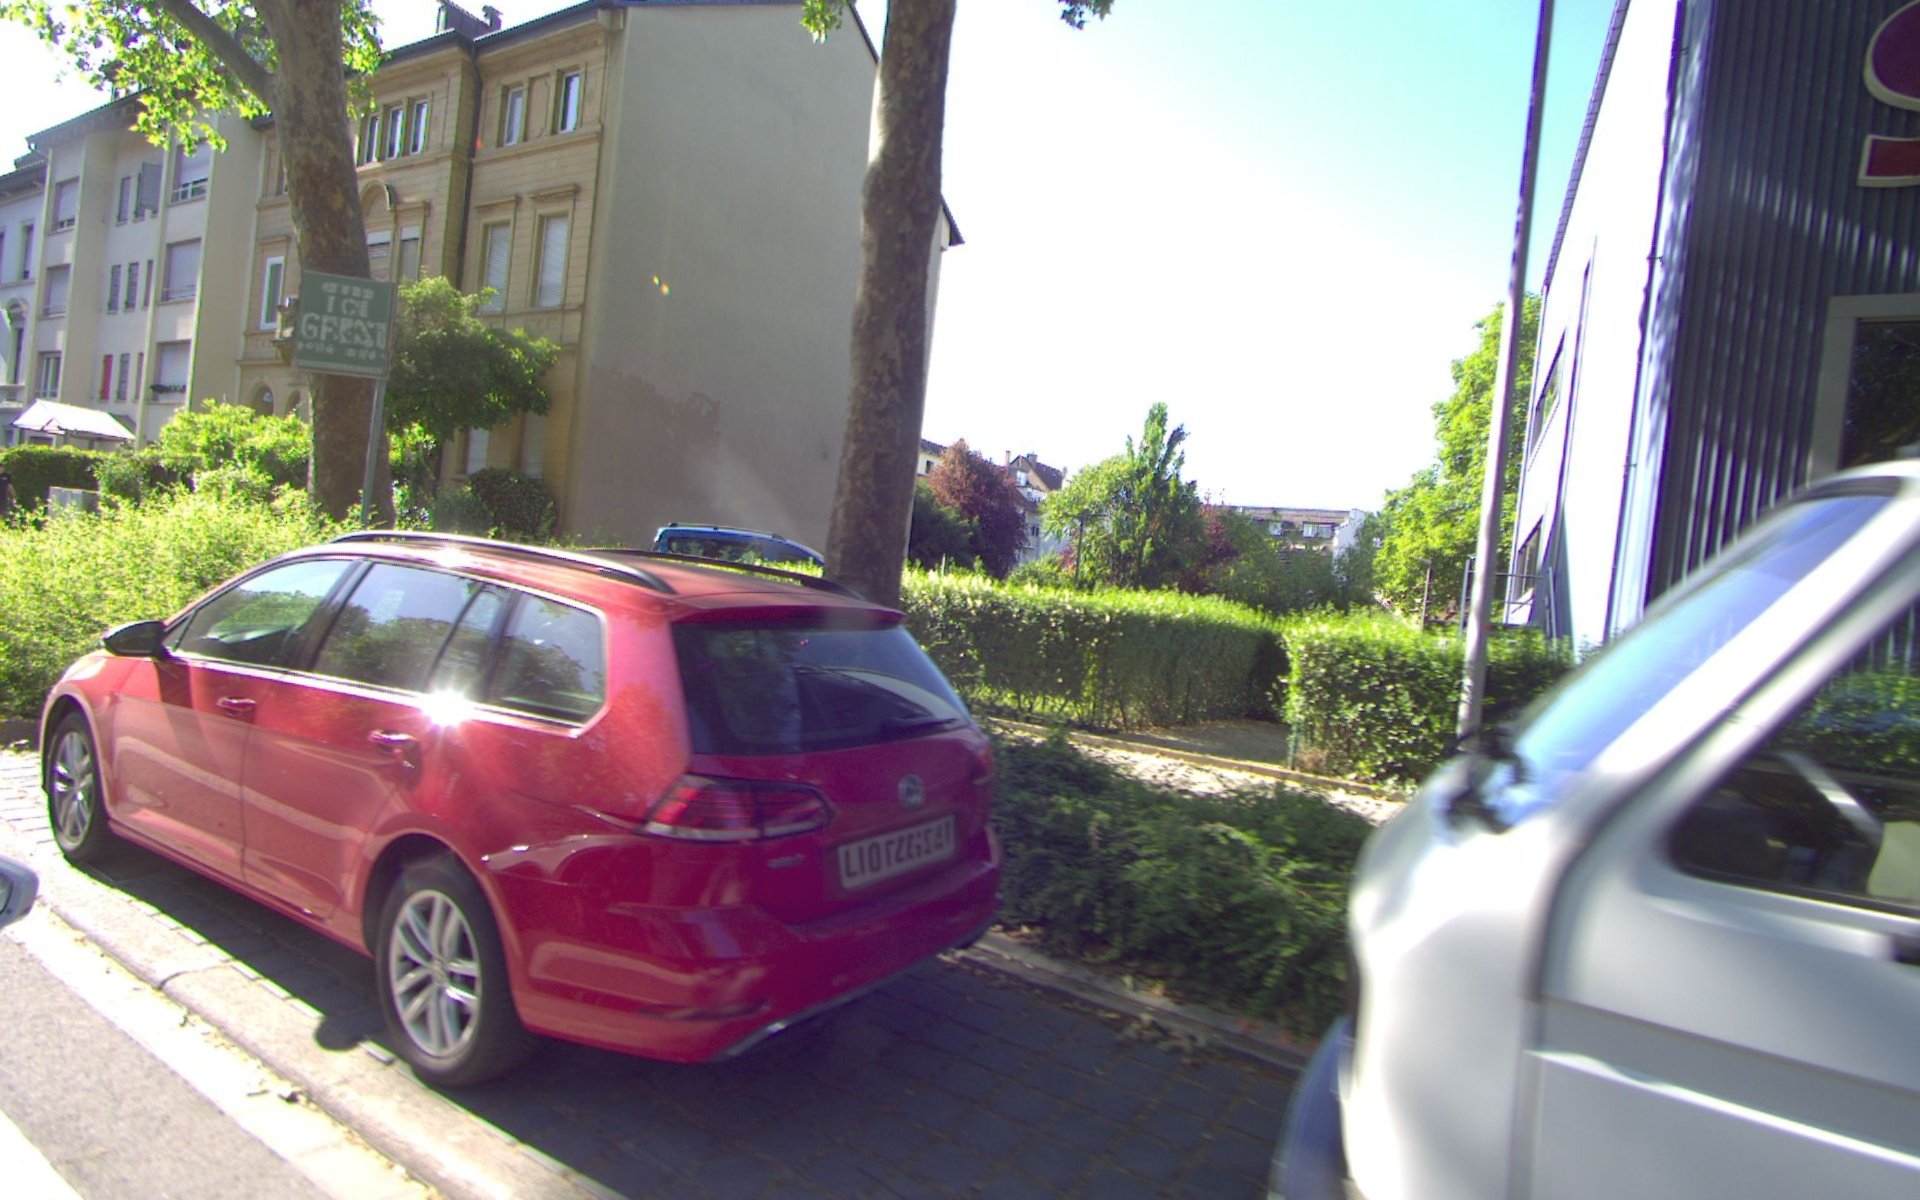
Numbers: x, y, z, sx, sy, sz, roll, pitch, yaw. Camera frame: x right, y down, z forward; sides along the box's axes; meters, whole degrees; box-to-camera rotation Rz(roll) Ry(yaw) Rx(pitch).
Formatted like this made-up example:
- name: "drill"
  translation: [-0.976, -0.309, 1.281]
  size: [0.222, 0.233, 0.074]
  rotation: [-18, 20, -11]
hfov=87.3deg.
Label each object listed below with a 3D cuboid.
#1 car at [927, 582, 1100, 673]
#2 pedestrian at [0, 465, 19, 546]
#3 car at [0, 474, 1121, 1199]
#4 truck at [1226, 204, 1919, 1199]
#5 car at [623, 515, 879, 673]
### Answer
- name: "car"
  translation: [1.127, 0.586, 22.391]
  size: [3.484, 1.652, 1.855]
  rotation: [5, 1, -7]
- name: "pedestrian"
  translation: [-21.764, -2.156, 22.640]
  size: [0.999, 1.777, 0.653]
  rotation: [7, 1, 41]
- name: "car"
  translation: [-1.916, 0.464, 4.016]
  size: [4.600, 1.526, 1.823]
  rotation: [6, 1, 32]
- name: "truck"
  translation: [2.746, 0.727, 1.062]
  size: [4.380, 1.905, 1.878]
  rotation: [6, 1, 32]
- name: "car"
  translation: [-3.130, -0.066, 15.646]
  size: [3.444, 1.875, 1.710]
  rotation: [8, -1, -2]
